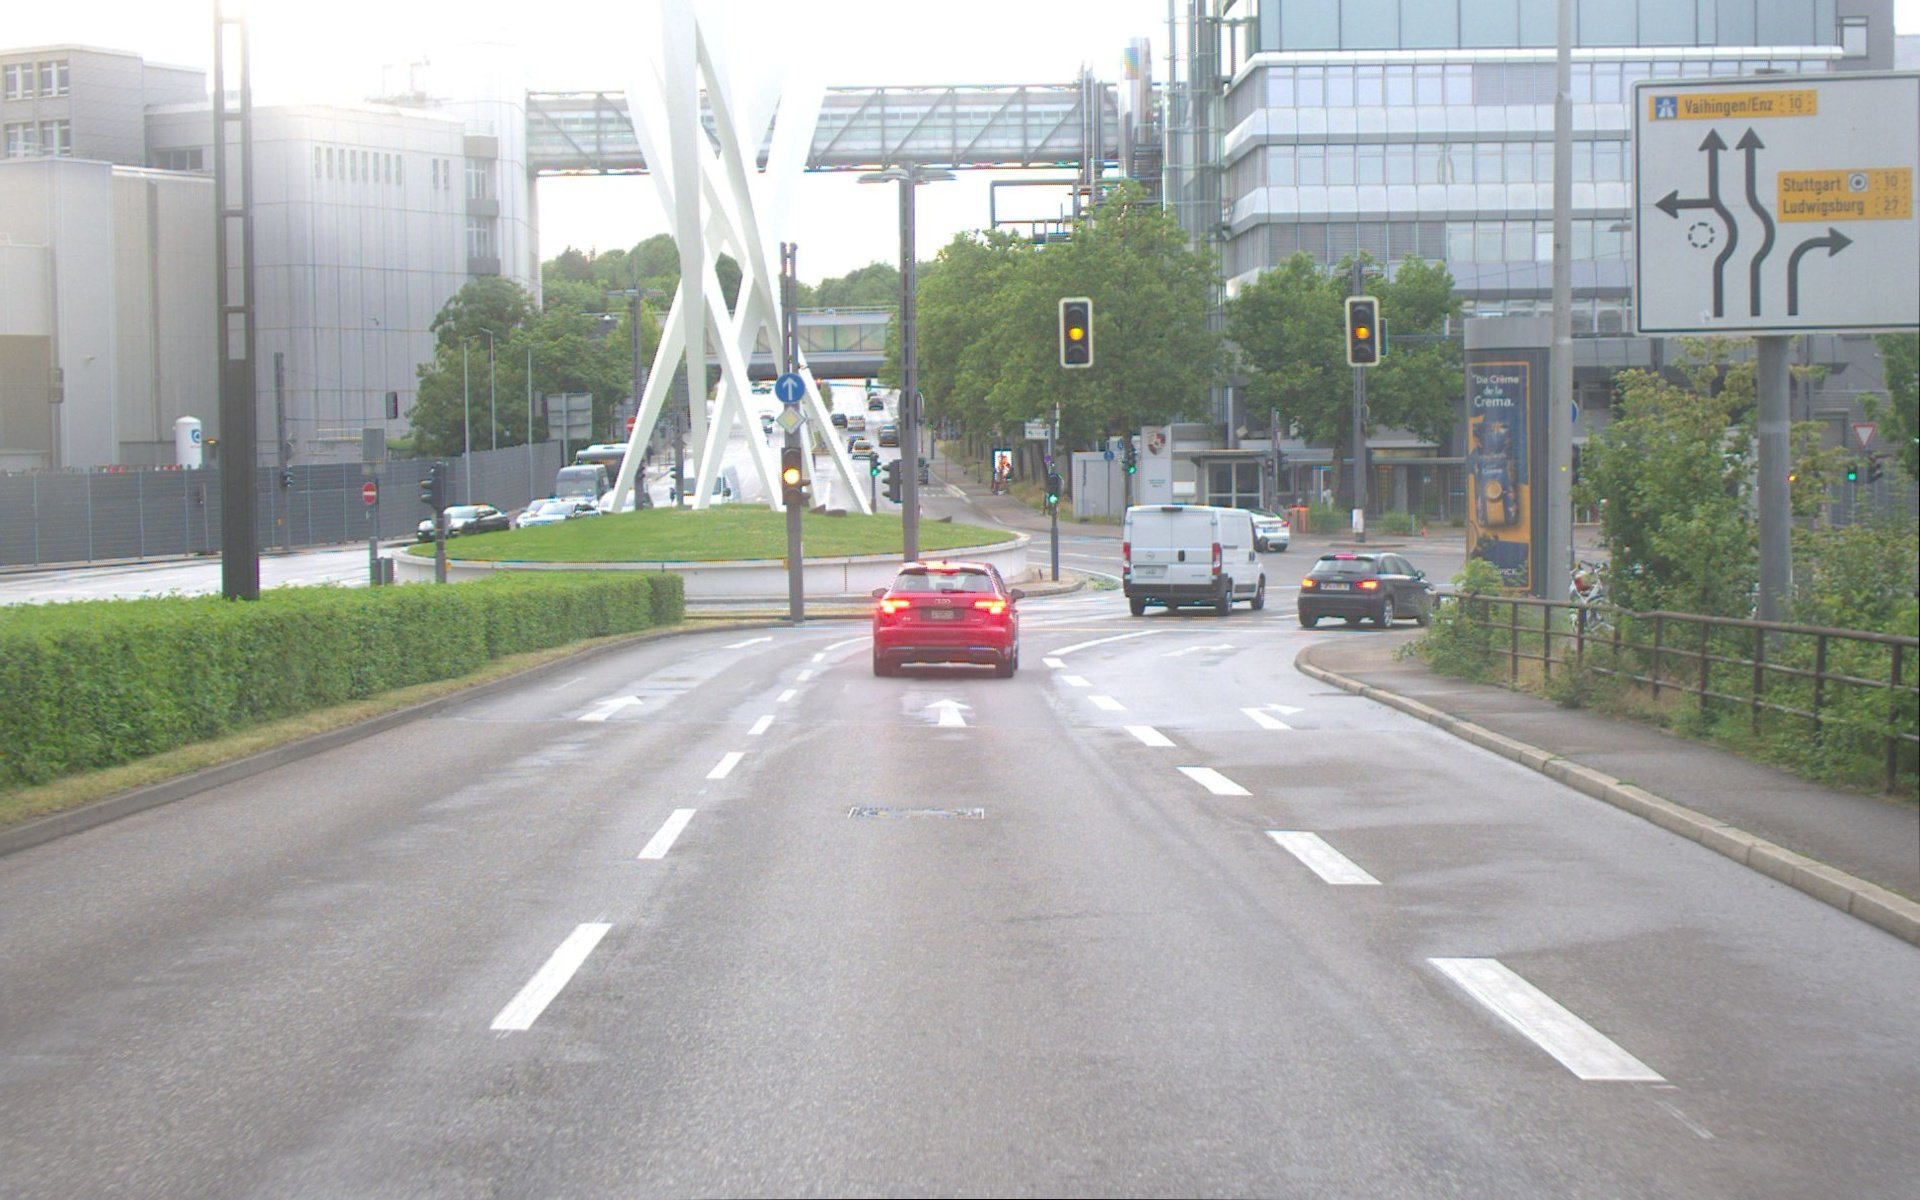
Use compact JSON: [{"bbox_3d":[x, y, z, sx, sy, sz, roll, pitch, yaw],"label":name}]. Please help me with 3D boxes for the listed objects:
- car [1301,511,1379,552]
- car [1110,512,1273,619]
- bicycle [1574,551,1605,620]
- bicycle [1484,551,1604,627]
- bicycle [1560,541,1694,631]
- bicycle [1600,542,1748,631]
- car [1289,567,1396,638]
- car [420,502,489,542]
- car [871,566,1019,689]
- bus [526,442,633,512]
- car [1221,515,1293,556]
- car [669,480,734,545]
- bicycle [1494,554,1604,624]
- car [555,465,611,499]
[{"bbox_3d":[12.507,-2.251,113.296,1.667,1.296,3.887,-1,1,-8],"label":"car"},{"bbox_3d":[4.808,-0.705,70.741,2.234,2.100,4.950,0,0,18],"label":"car"},{"bbox_3d":[10.734,-0.251,58.574,0.385,1.158,2.000,0,0,14],"label":"bicycle"},{"bbox_3d":[9.280,-0.177,54.701,1.800,1.157,0.592,-1,0,3],"label":"bicycle"},{"bbox_3d":[9.509,-0.207,48.997,1.926,1.219,0.599,-2,1,-29],"label":"bicycle"},{"bbox_3d":[9.842,-0.192,47.378,1.925,1.174,0.599,-1,1,-16],"label":"bicycle"},{"bbox_3d":[7.200,0.033,64.481,1.611,1.286,3.564,0,1,12],"label":"car"},{"bbox_3d":[-19.101,-2.952,129.968,1.833,1.467,4.514,-1,2,1],"label":"car"},{"bbox_3d":[-0.163,0.308,43.199,1.772,1.459,3.733,0,1,1],"label":"car"},{"bbox_3d":[-18.068,-5.832,164.173,2.669,3.190,12.668,0,2,5],"label":"bus"},{"bbox_3d":[9.540,-2.080,110.721,1.556,1.284,3.414,-1,1,-8],"label":"car"},{"bbox_3d":[-10.001,-3.388,133.271,1.993,2.438,5.427,-1,2,1],"label":"car"},{"bbox_3d":[9.829,-0.185,57.391,1.770,1.136,0.678,0,0,7],"label":"bicycle"},{"bbox_3d":[-16.463,-5.144,150.143,1.833,1.467,4.514,-1,2,1],"label":"car"}]
